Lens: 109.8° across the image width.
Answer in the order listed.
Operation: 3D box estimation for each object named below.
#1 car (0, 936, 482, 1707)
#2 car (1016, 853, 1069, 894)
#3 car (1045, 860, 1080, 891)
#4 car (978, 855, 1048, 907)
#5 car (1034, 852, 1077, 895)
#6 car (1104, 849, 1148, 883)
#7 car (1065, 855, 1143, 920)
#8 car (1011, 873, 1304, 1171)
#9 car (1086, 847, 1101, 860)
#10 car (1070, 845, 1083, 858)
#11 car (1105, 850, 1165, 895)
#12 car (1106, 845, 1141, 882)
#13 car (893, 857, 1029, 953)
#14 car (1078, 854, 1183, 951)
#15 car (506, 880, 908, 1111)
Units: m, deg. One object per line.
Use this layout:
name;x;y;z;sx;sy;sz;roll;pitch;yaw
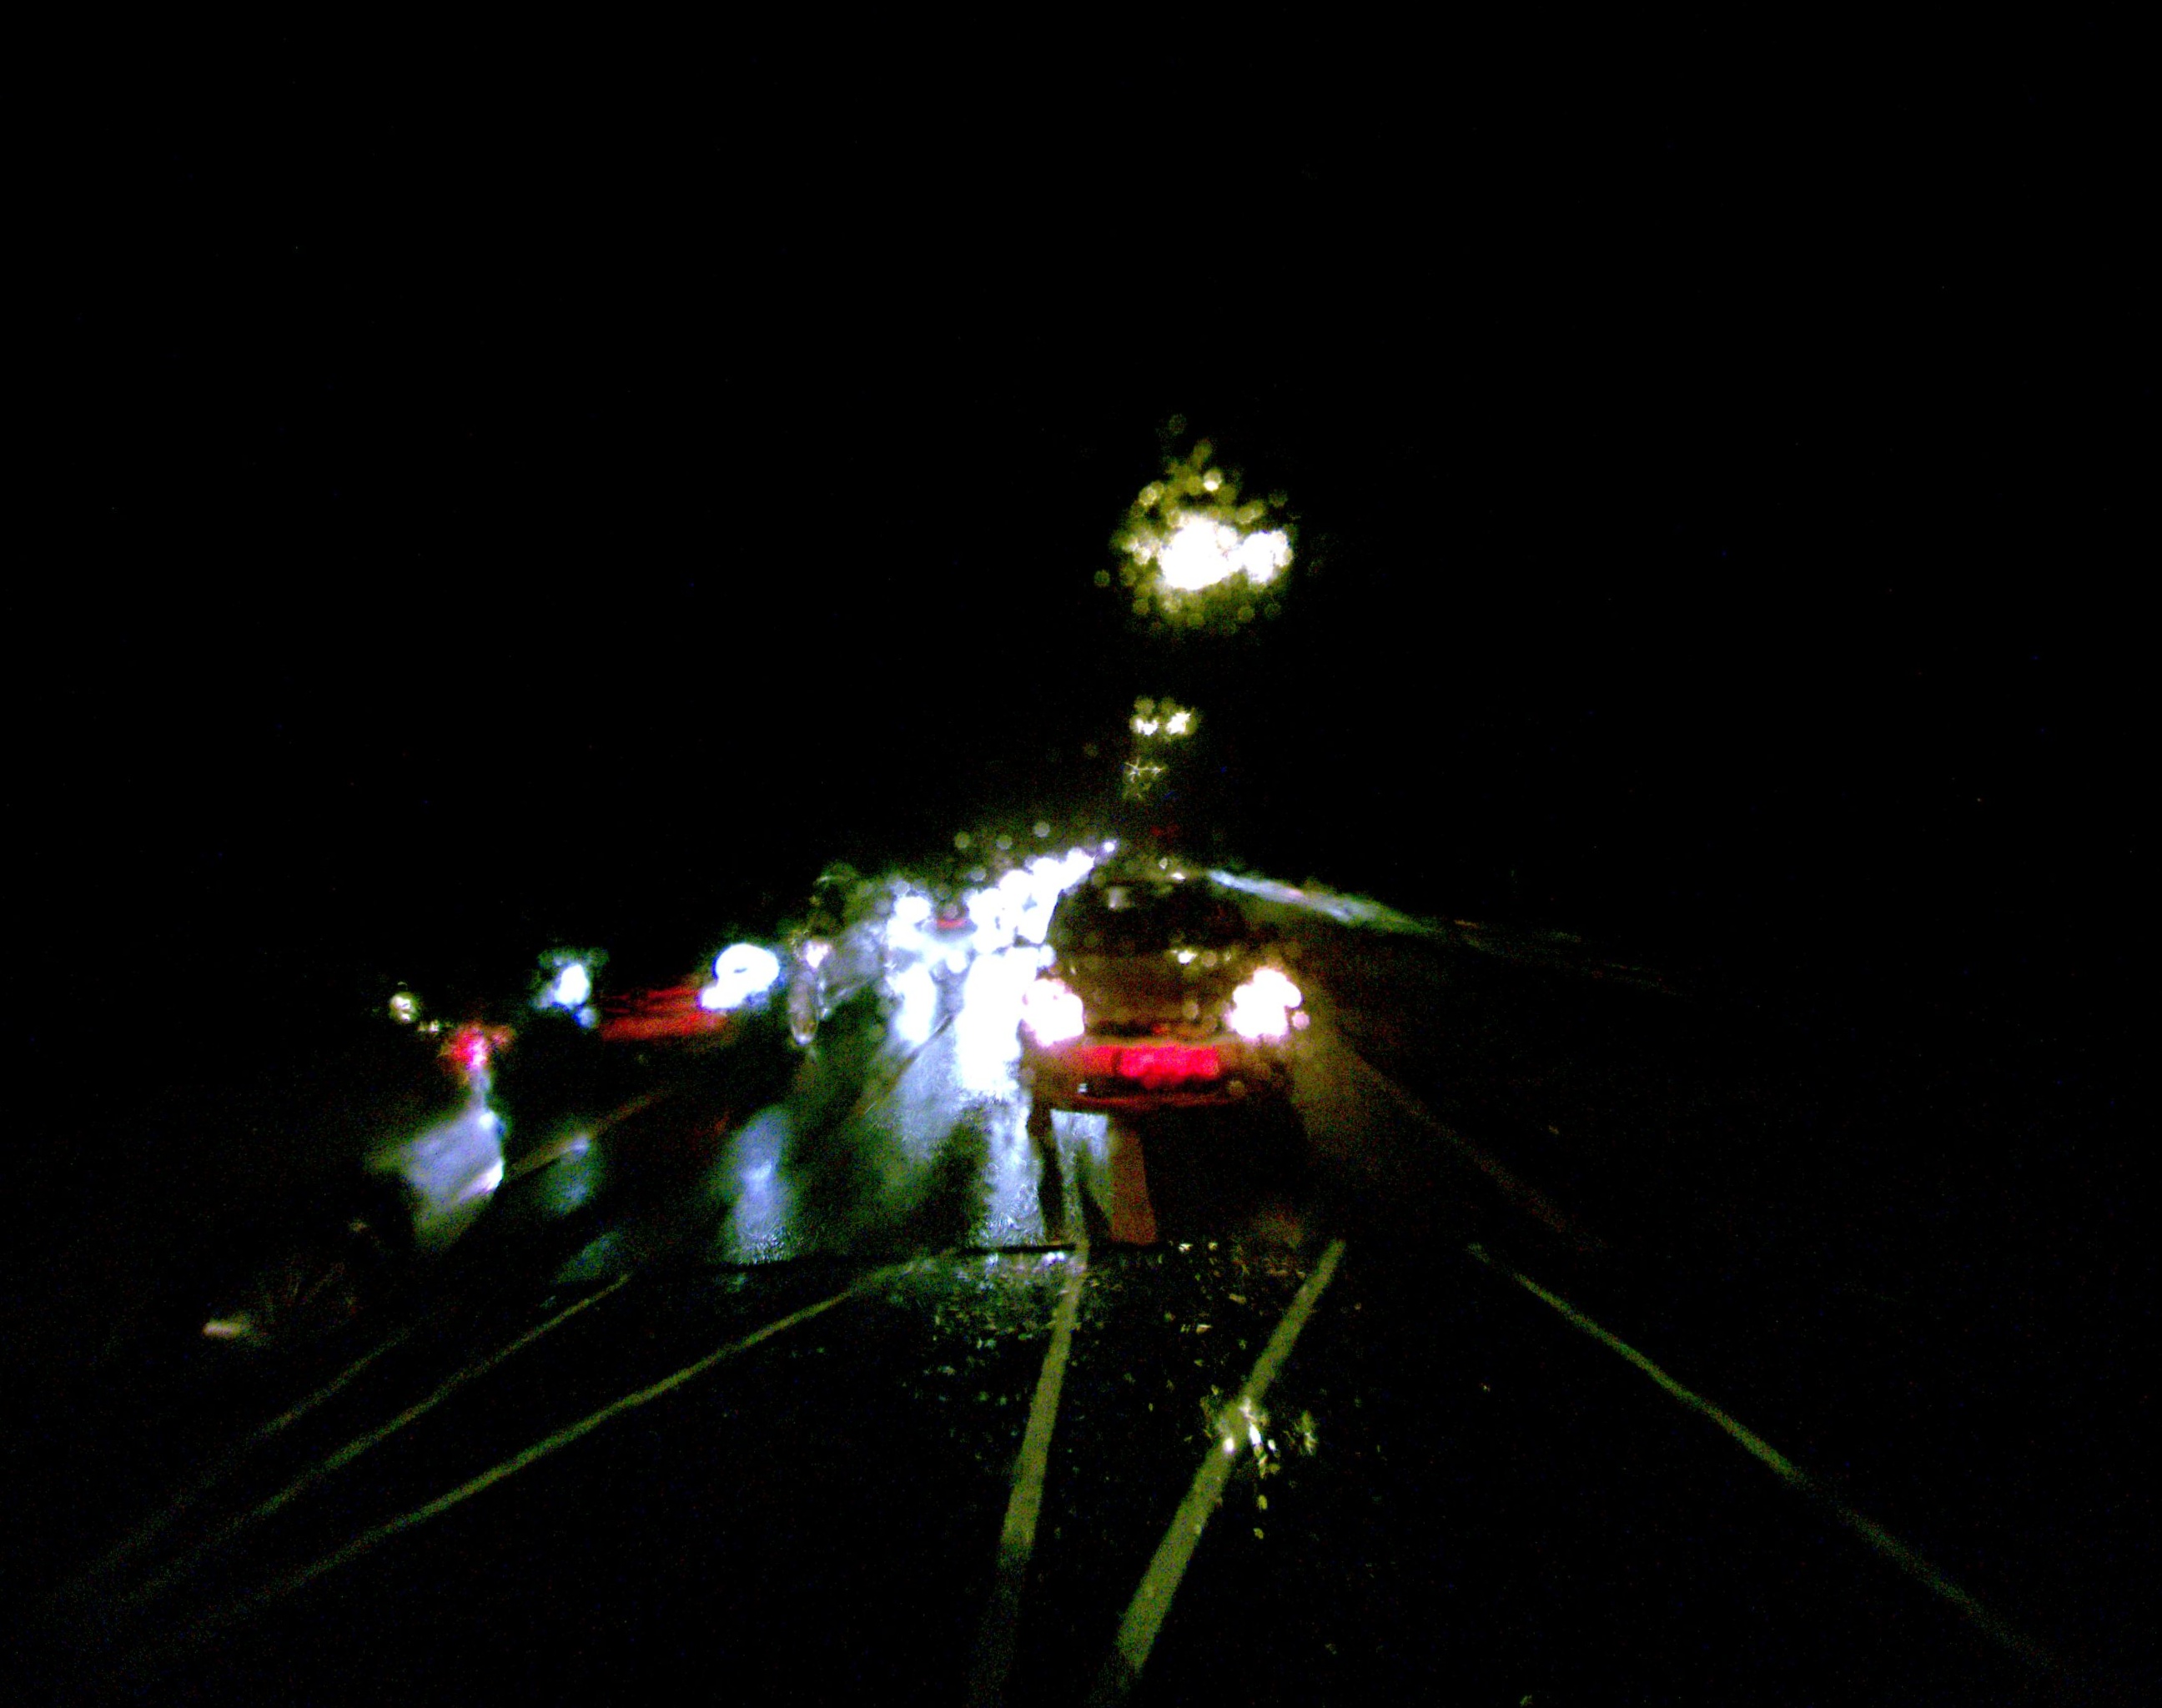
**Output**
car;-3.091;1.107;0.524;1.711;1.513;4.414;-2;1;1
car;-1.609;0.794;32.965;1.998;1.589;4.391;-1;1;1
car;-1.129;1.306;47.581;1.998;1.789;4.000;-1;0;1
car;-2.294;0.876;26.867;1.998;1.589;4.391;-1;1;1
car;-1.277;0.973;39.632;1.998;2.002;3.999;-2;1;1
car;2.245;0.559;38.848;1.998;1.574;3.999;-2;1;1
car;0.587;0.836;20.632;1.838;1.417;3.698;-4;1;1
car;0.432;0.951;5.784;1.497;1.416;3.389;-3;1;1
car;1.616;-0.053;99.446;1.869;1.654;4.000;-1;0;2
car;-0.755;-0.443;129.671;1.998;2.002;3.999;-1;1;0
car;1.990;0.640;28.967;1.998;1.497;3.999;-2;1;1
car;2.407;0.487;44.016;1.801;2.002;3.999;-2;1;1
car;-2.240;0.906;15.451;1.998;1.589;4.391;-1;1;1
car;0.828;0.783;13.995;1.606;1.417;3.389;-4;1;1
car;-3.138;1.083;7.479;1.743;1.409;4.140;-2;1;2
